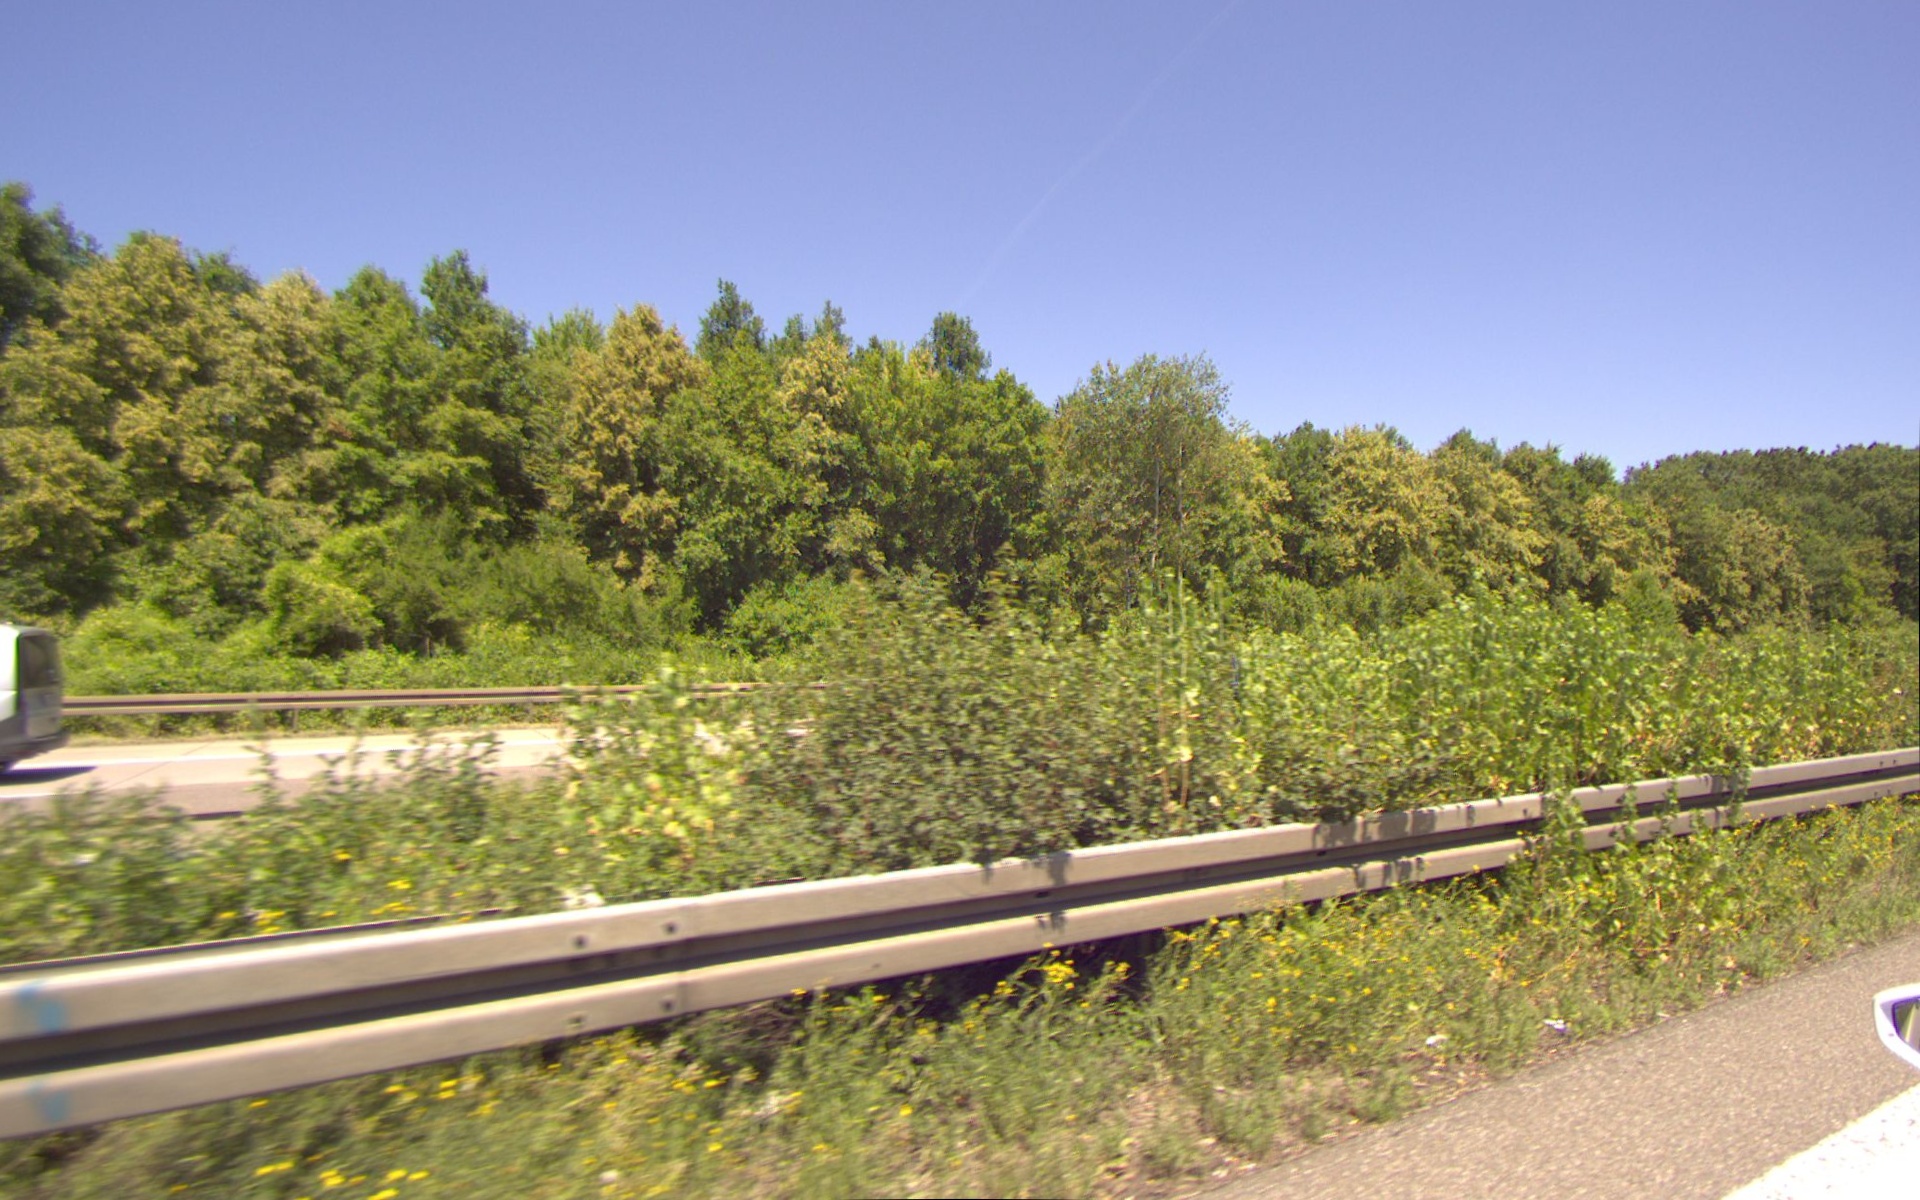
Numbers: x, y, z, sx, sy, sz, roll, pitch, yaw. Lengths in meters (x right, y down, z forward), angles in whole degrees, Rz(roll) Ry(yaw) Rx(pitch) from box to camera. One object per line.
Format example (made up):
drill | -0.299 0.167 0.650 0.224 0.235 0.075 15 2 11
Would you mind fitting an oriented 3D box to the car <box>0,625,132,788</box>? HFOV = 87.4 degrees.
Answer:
car | -11.790 1.172 11.238 3.582 1.779 1.786 1 -3 -30
